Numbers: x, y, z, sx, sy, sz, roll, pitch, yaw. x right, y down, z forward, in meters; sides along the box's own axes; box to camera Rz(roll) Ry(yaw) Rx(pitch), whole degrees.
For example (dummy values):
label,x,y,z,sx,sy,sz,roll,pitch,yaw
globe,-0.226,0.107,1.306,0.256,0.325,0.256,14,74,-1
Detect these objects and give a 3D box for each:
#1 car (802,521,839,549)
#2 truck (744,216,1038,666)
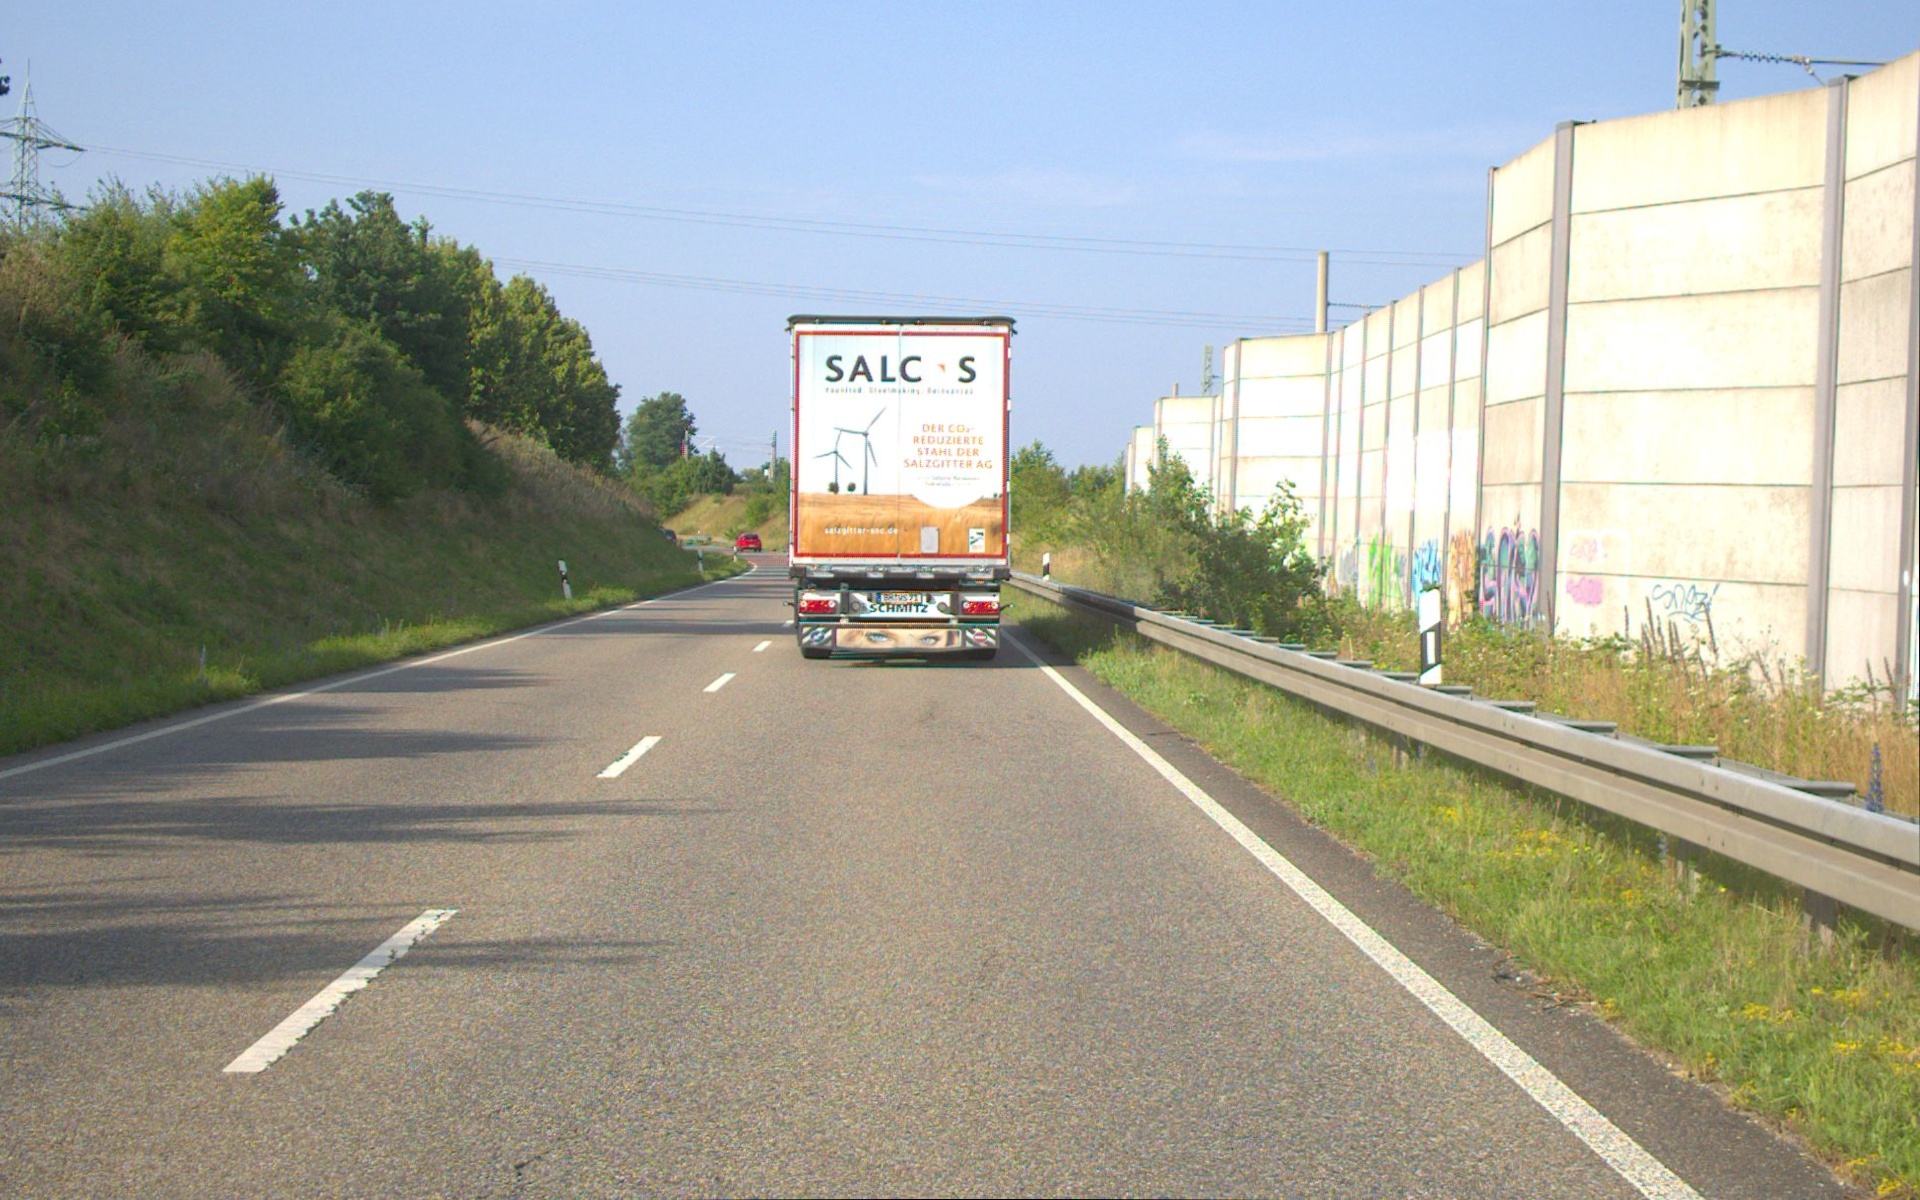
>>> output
label,x,y,z,sx,sy,sz,roll,pitch,yaw
car,-8.193,-3.827,202.464,2.046,1.576,4.360,1,1,-1
truck,-1.071,-1.982,45.178,3.290,5.072,12.040,1,2,-3
